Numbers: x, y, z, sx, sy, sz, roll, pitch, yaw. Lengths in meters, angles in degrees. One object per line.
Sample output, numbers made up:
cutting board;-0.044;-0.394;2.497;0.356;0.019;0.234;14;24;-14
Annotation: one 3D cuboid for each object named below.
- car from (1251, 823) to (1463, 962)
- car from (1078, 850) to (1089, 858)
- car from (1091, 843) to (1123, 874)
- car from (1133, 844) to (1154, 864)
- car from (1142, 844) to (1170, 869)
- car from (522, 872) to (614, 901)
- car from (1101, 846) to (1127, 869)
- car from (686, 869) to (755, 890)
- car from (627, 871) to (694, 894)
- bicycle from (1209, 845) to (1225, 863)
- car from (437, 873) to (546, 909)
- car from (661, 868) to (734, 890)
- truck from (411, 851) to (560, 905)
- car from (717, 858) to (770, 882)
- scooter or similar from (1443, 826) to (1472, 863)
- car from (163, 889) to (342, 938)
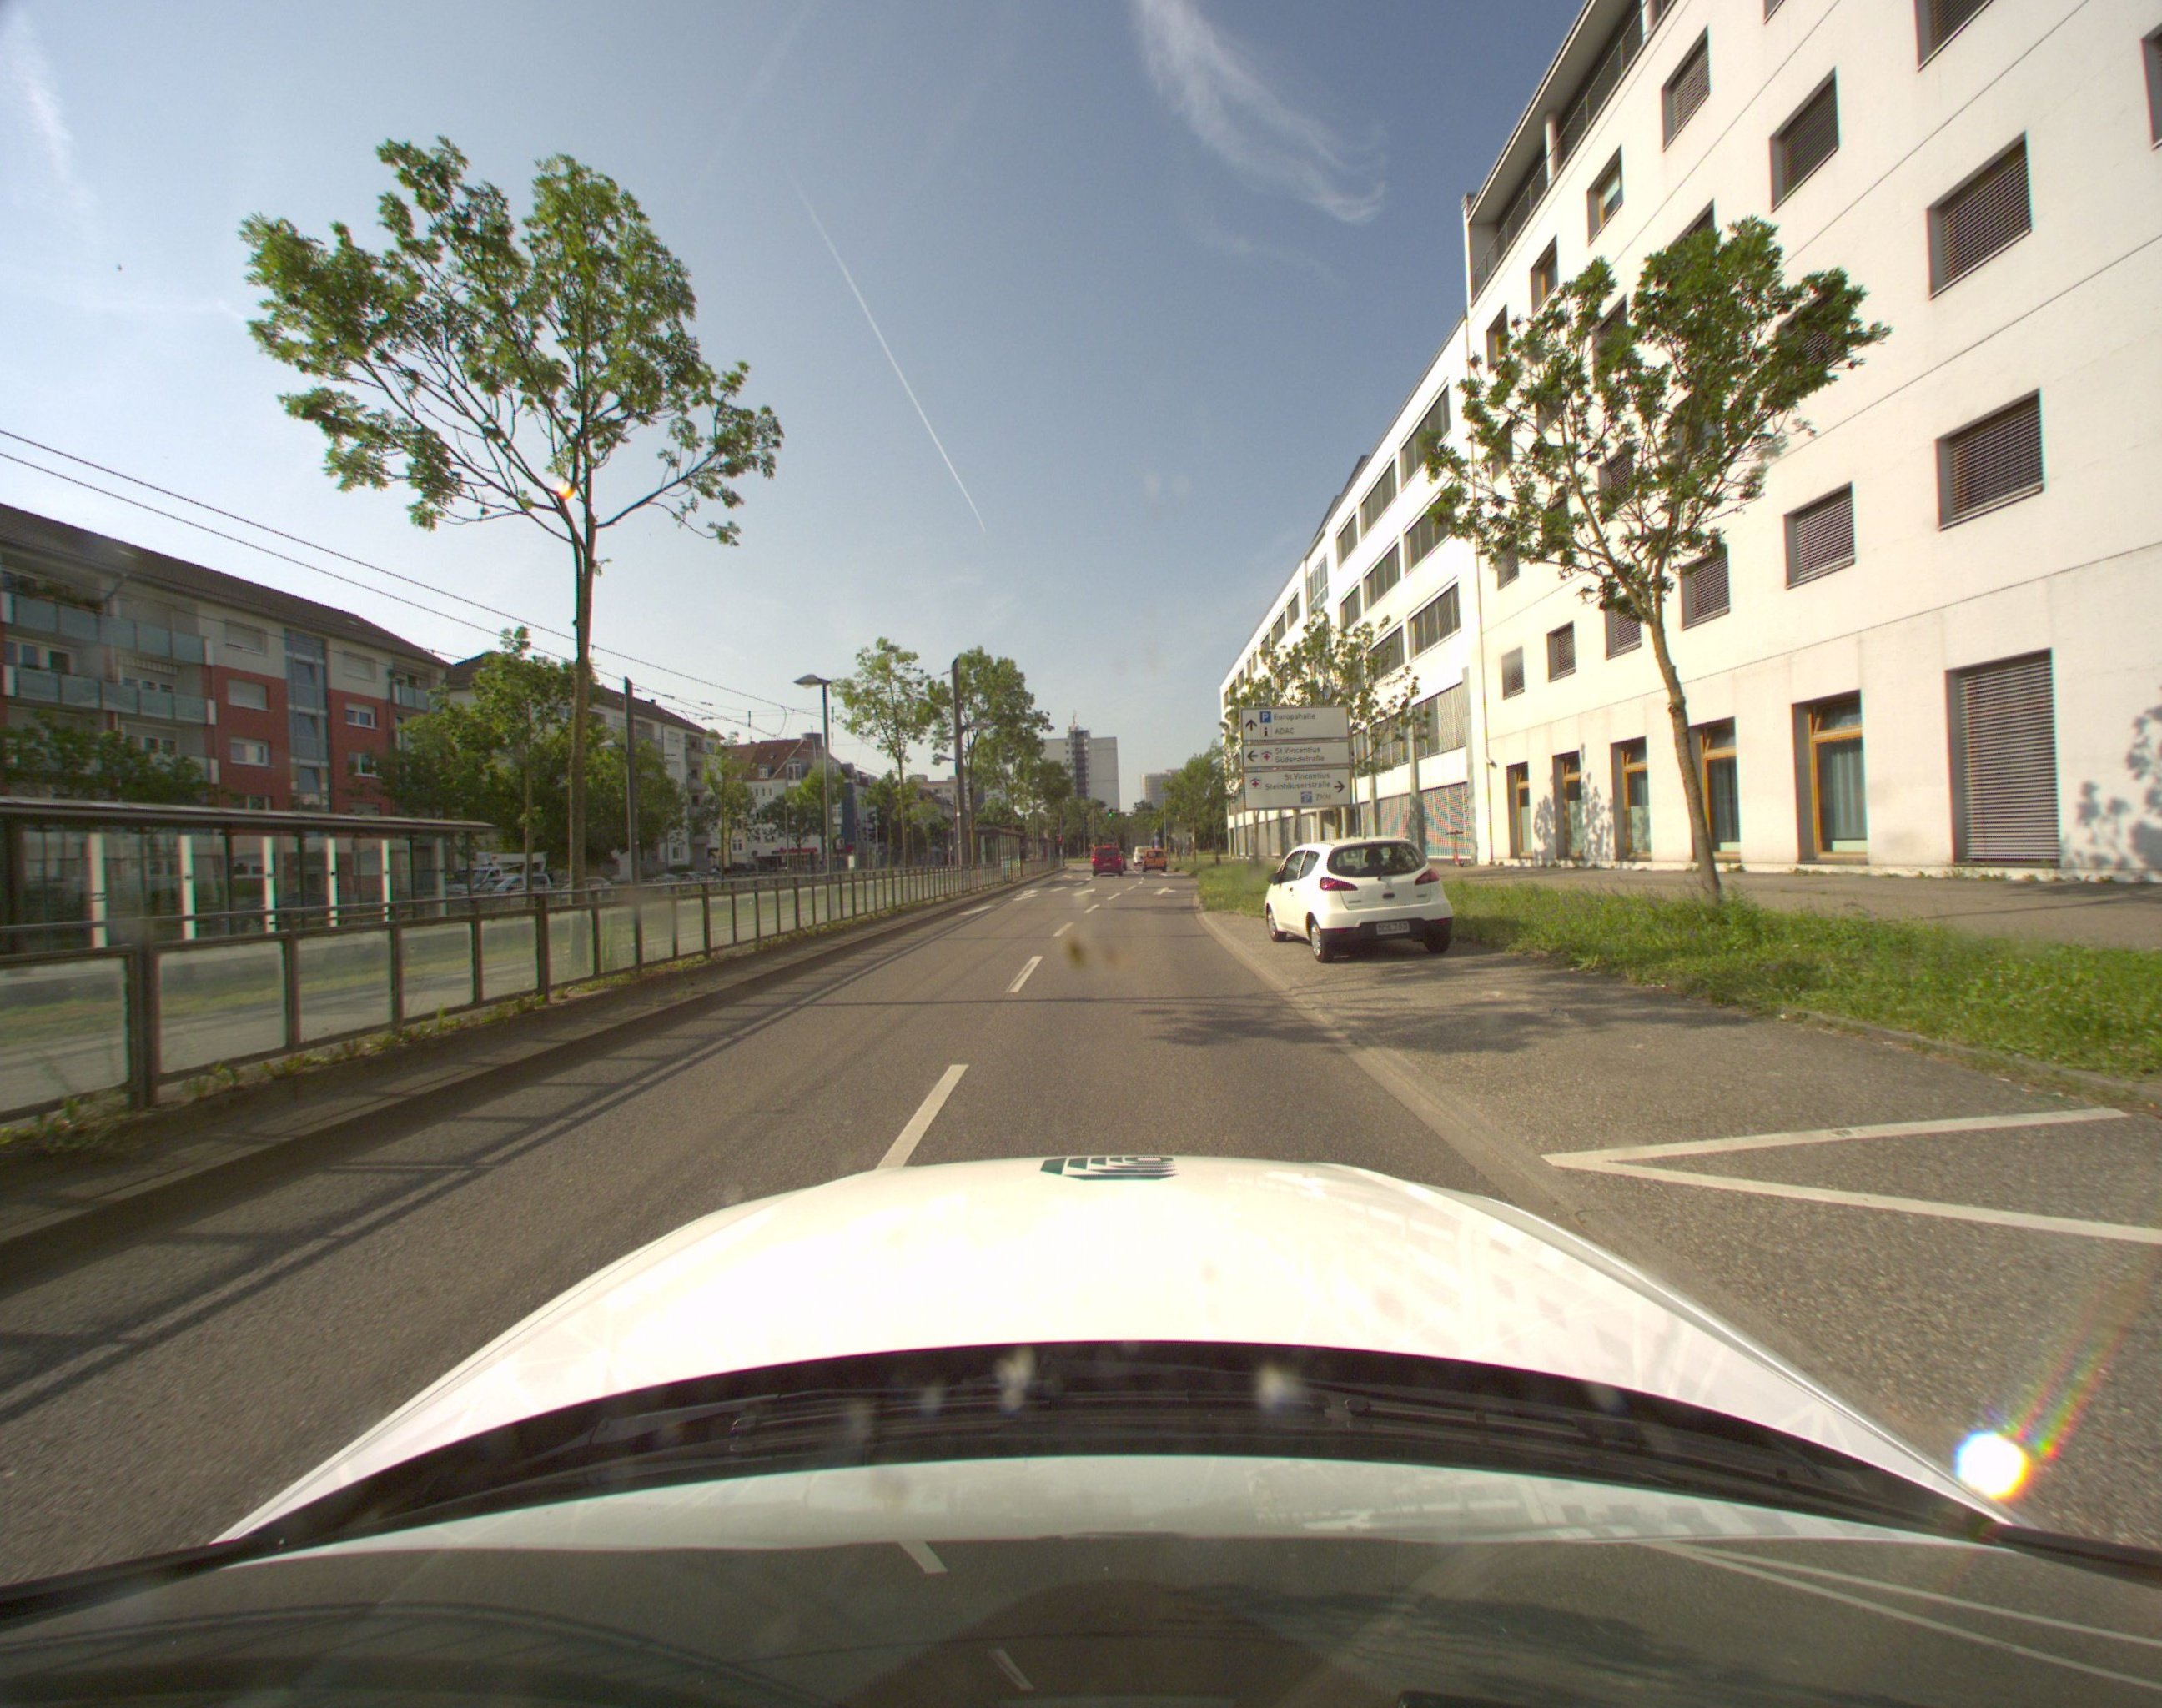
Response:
car;3.698;0.453;11.666;1.683;1.526;3.851;-5;0;1
car;0.621;-0.025;186.798;1.863;1.574;4.012;-2;0;11
car;1.641;0.275;52.201;1.868;1.853;4.001;-2;0;1
car;6.585;-0.031;86.173;1.986;2.013;4.002;-1;0;2
car;5.551;0.154;60.572;1.868;1.696;3.976;-2;0;3
car;-27.878;1.733;44.461;1.973;1.379;4.685;-1;0;1
car;2.717;0.242;67.457;1.986;1.706;4.002;-4;0;2
car;-24.748;1.758;55.931;3.955;1.244;1.948;-2;0;17
car;-25.806;1.743;49.937;3.948;1.244;1.844;-2;0;32
bicycle;7.810;0.007;46.836;0.615;1.017;1.880;-2;0;1
car;-28.004;1.725;38.889;1.973;1.513;4.282;-1;0;1
car;-25.146;1.646;53.412;3.955;1.244;1.948;-2;0;17
truck;-31.099;1.146;42.971;2.357;2.563;7.243;-1;0;1
car;-29.956;1.392;72.498;2.357;2.030;5.313;-1;0;1
scooter or similar;12.862;-0.331;27.843;0.460;1.213;1.257;-4;0;8
car;-28.420;1.994;28.158;1.973;1.360;4.070;-1;0;1
